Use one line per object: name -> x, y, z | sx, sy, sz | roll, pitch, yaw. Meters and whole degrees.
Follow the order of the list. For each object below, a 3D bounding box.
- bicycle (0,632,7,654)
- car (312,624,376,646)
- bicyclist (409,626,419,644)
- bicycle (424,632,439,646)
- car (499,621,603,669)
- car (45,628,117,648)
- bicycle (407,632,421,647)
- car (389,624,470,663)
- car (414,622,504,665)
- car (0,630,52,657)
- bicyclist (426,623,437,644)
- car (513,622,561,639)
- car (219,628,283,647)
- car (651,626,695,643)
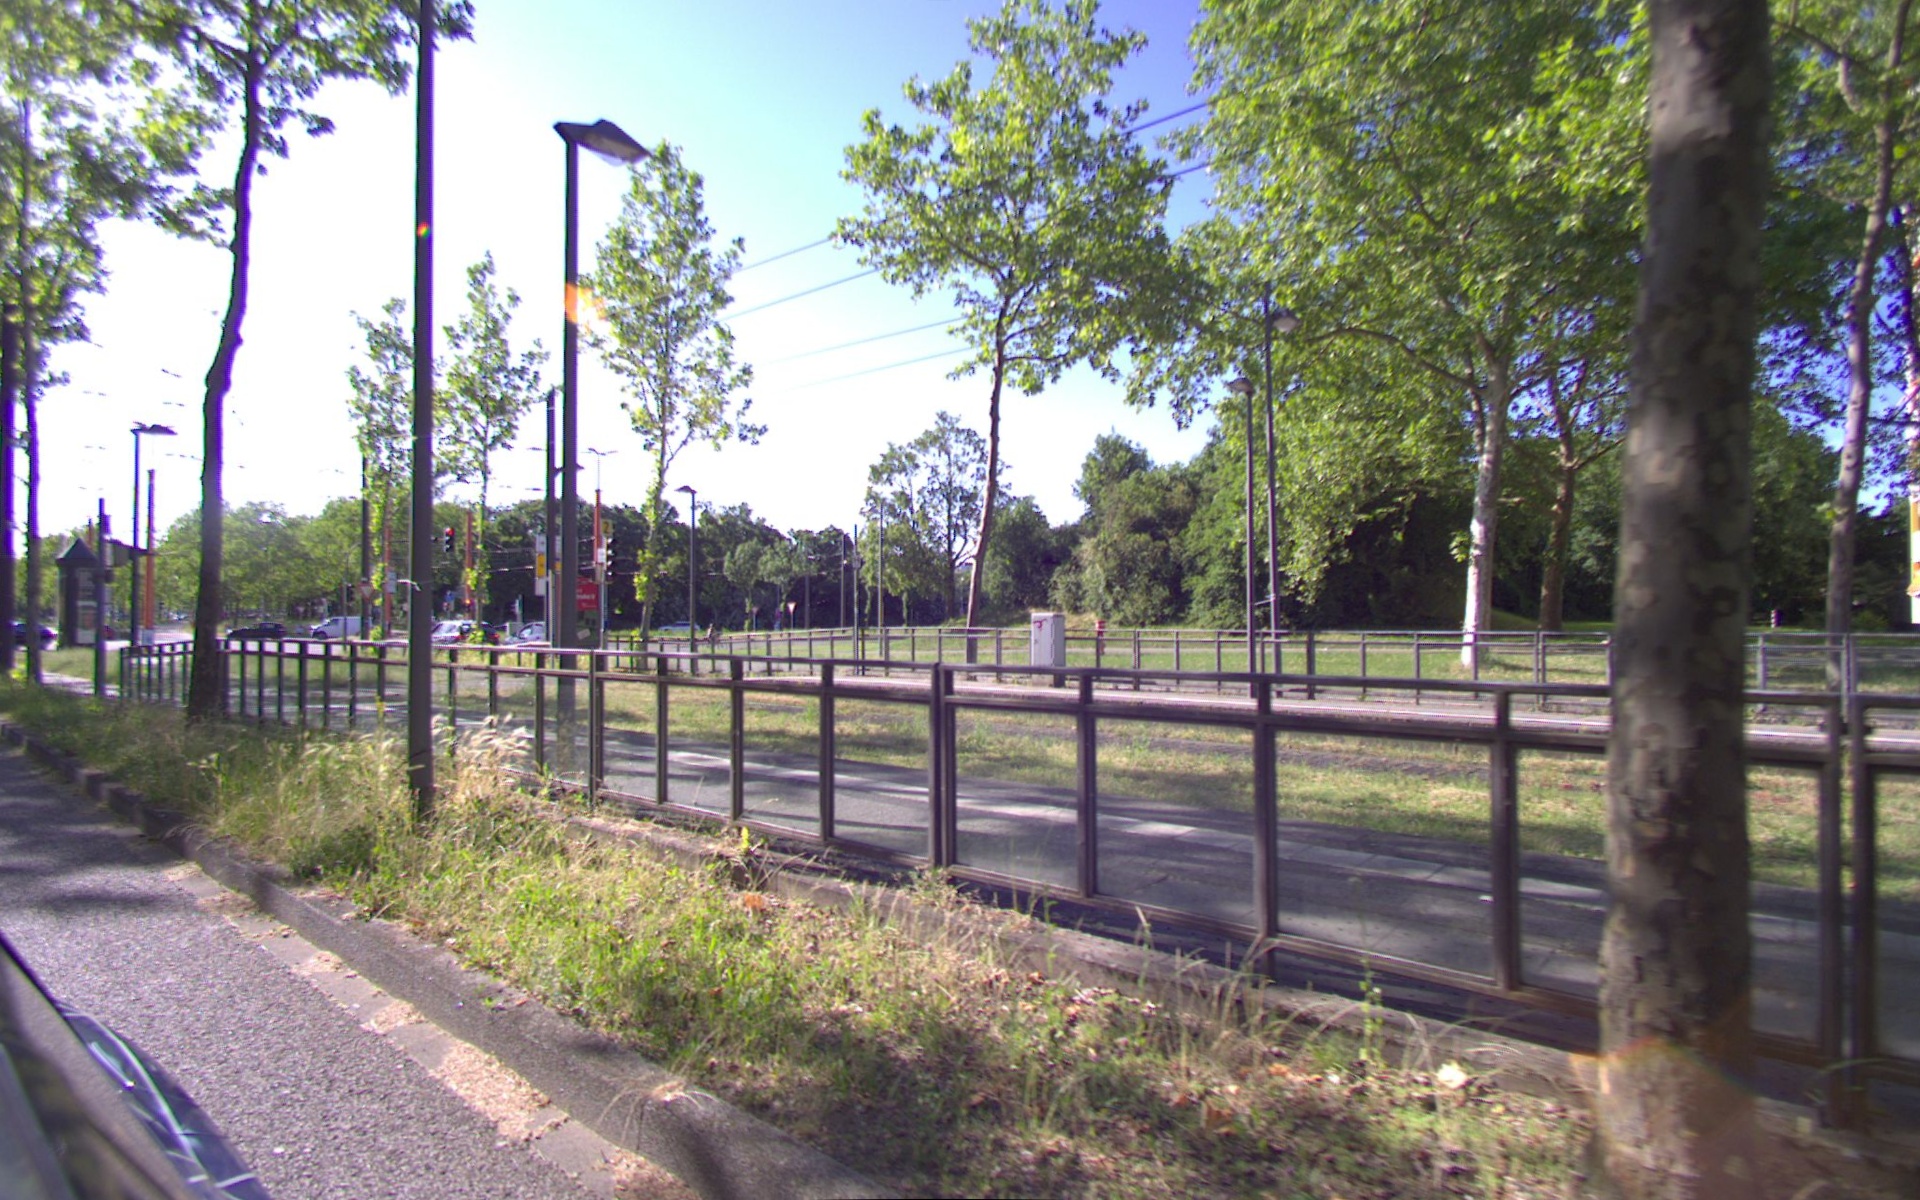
bicycle -> -50.912, 2.257, 52.607 | 1.868, 1.116, 0.705 | 0, -1, -26
car -> -53.298, 3.021, 87.688 | 4.478, 1.849, 1.806 | 0, -2, -23
bicyclist -> -43.709, 2.786, 80.984 | 0.778, 1.458, 0.493 | -1, -2, 44
bicycle -> -42.777, 3.176, 81.946 | 1.800, 1.116, 0.554 | -1, -2, 44
car -> -14.754, 1.587, 36.433 | 4.266, 1.620, 1.775 | -1, -2, 42
car -> -70.277, 3.048, 80.998 | 3.930, 1.522, 1.806 | 0, -2, -22
bicycle -> -43.709, 3.162, 80.975 | 1.800, 1.116, 0.493 | -1, -2, 44
car -> -23.409, 1.882, 44.607 | 4.232, 1.629, 1.775 | -2, -2, 42
car -> -20.070, 1.688, 40.468 | 4.232, 1.629, 1.775 | -1, -2, 42
car -> -56.122, 2.565, 59.502 | 1.761, 1.522, 4.634 | -1, -1, -7
bicyclist -> -42.778, 2.711, 81.957 | 0.715, 1.665, 0.554 | -1, -2, 44
car -> -37.778, 2.731, 90.479 | 3.930, 1.522, 1.806 | 0, -2, -22
car -> -57.615, 3.031, 82.337 | 3.930, 1.522, 1.806 | 0, -2, -22
car -> -27.710, 3.333, 97.778 | 3.930, 1.522, 1.806 | 0, -2, -23
